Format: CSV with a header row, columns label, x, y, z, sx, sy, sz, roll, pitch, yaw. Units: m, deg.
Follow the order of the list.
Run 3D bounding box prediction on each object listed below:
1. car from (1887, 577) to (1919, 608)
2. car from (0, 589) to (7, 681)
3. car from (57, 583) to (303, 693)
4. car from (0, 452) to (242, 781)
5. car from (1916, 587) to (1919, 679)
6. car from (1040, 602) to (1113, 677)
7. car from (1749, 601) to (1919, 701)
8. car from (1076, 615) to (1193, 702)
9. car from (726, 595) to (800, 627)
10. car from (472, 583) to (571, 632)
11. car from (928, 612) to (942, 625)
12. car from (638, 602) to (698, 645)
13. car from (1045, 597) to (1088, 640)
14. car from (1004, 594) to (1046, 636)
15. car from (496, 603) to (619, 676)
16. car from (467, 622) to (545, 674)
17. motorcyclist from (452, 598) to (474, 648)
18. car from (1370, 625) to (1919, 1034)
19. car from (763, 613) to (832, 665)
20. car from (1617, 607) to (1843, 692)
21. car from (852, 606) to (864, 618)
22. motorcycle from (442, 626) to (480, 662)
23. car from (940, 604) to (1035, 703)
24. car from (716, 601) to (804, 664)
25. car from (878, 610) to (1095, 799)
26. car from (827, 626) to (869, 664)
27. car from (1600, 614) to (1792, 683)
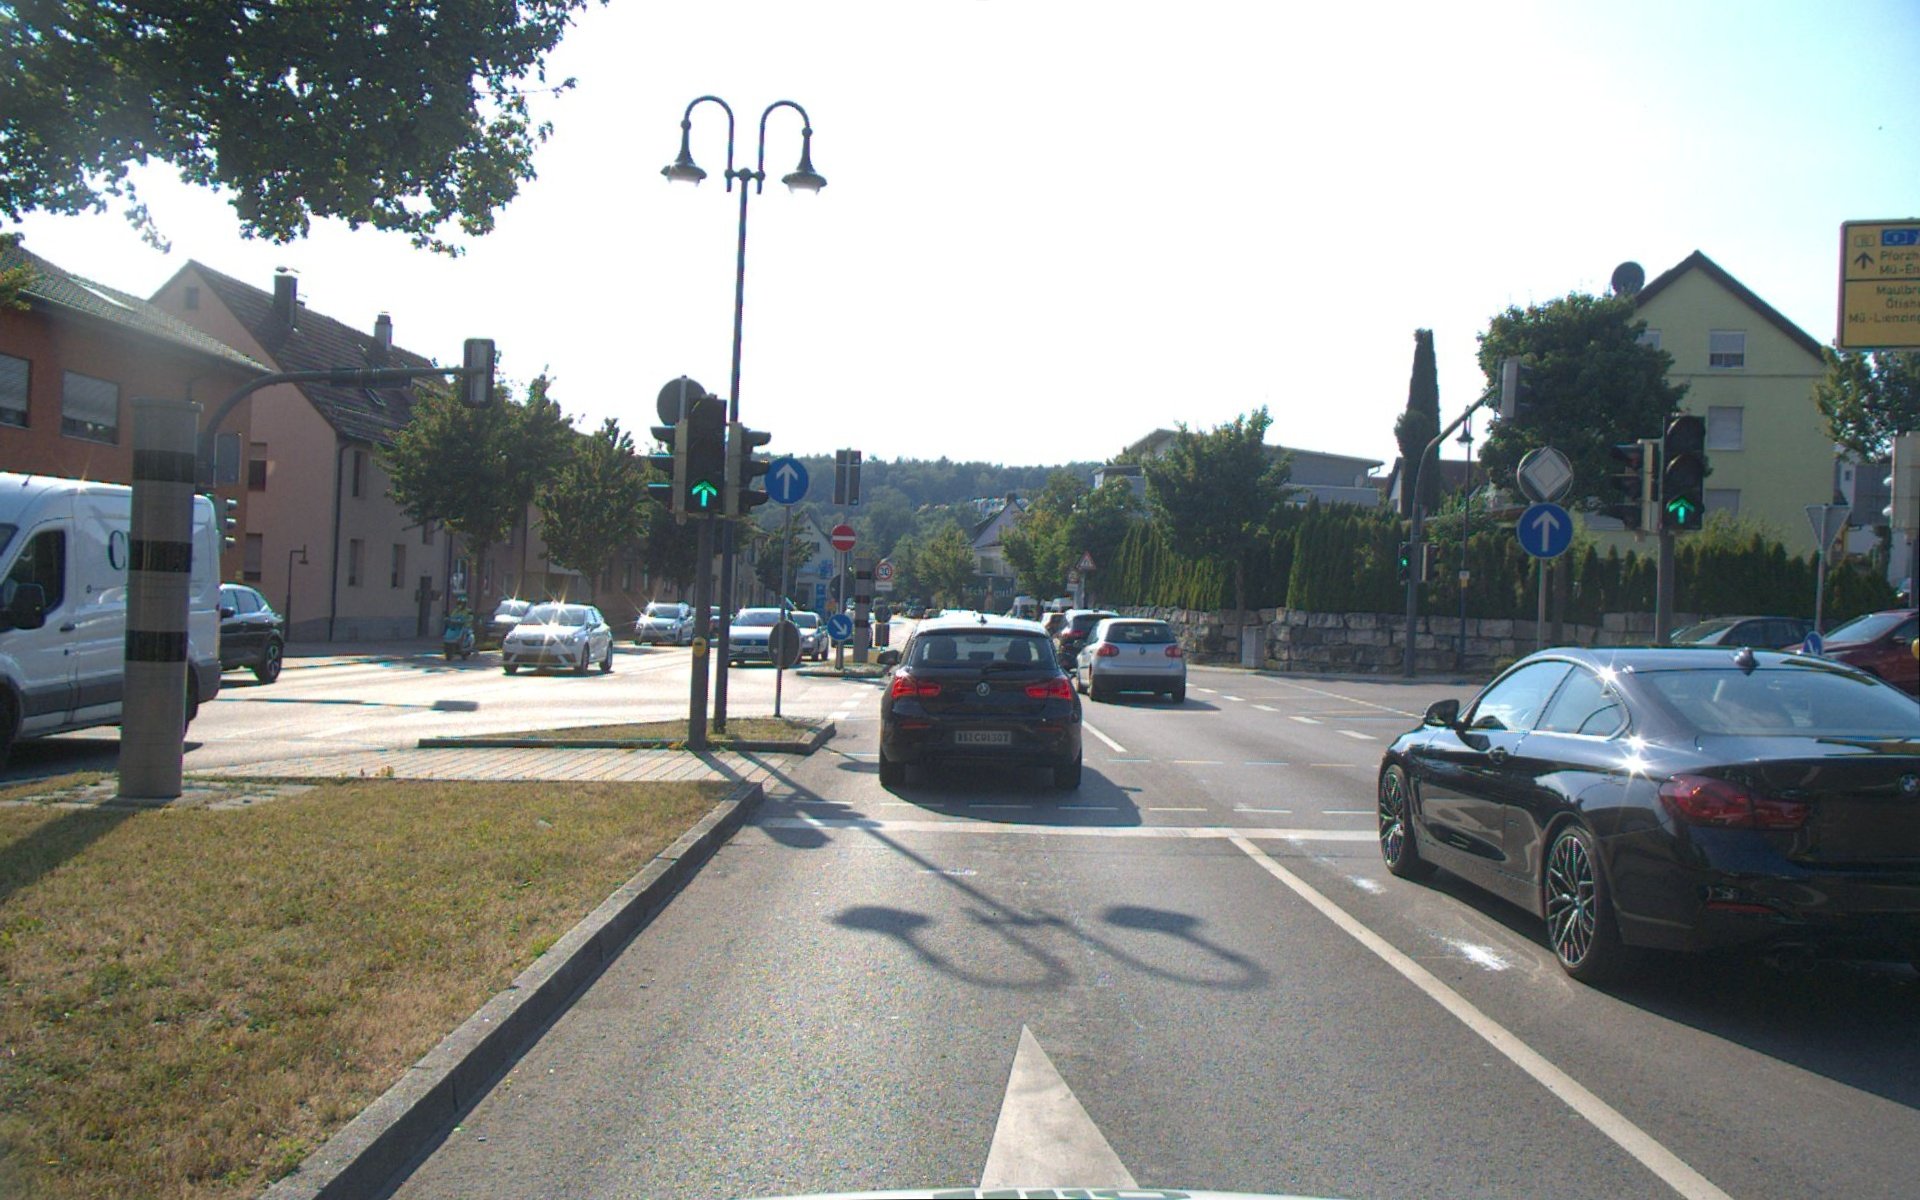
label,x,y,z,sx,sy,sz,roll,pitch,yaw
car,44.911,-0.328,78.045,1.779,1.368,3.989,1,0,33
car,-15.884,0.524,24.017,1.759,1.439,3.941,1,0,1
car,-12.720,0.581,27.307,1.816,1.623,4.461,1,0,1
car,-8.428,0.107,14.459,2.043,2.519,5.476,1,0,-2
car,23.005,0.764,35.878,5.118,1.966,1.976,1,0,-35
car,2.933,0.974,42.200,1.570,1.798,3.410,1,0,0
car,16.435,0.893,29.227,4.158,1.654,1.859,1,0,-7
car,3.155,1.037,30.478,1.718,1.439,3.421,1,0,-1
car,-16.715,0.946,140.570,6.035,2.487,2.248,2,0,-2
car,-19.178,0.335,72.484,3.742,1.914,1.779,3,-1,1
car,-3.169,2.266,205.873,1.565,1.511,3.472,2,0,-3
car,-11.663,0.927,66.305,1.651,1.640,4.412,1,0,-1
car,7.131,1.214,111.420,2.069,2.769,6.438,1,0,-4
car,4.308,0.982,110.817,2.107,2.727,6.598,1,0,-4
car,-8.672,0.817,35.940,1.721,1.436,3.999,1,0,-1
car,-14.930,1.562,54.551,1.481,1.537,3.884,3,0,-1
motorcyclist,-12.665,0.581,42.118,0.395,1.250,0.462,1,0,0
car,3.414,0.863,8.080,1.665,1.393,4.261,1,0,-2
car,-4.819,1.141,49.389,1.556,1.452,3.578,1,-1,2
car,15.058,0.944,32.487,3.706,1.569,1.599,1,0,6
car,-13.464,1.585,218.898,1.565,1.511,3.472,2,0,-3
motorcycle,-12.673,1.109,42.054,0.404,0.875,1.763,1,0,1
car,0.523,0.905,29.794,1.559,1.628,3.894,1,0,2
car,-5.194,0.807,43.485,1.798,1.514,4.565,1,0,-1
car,0.183,0.858,15.115,1.736,1.482,3.515,1,0,-1
car,-4.748,1.914,70.518,1.501,1.487,3.506,1,0,0
car,16.247,1.058,36.580,3.527,1.475,1.625,0,-1,-5
